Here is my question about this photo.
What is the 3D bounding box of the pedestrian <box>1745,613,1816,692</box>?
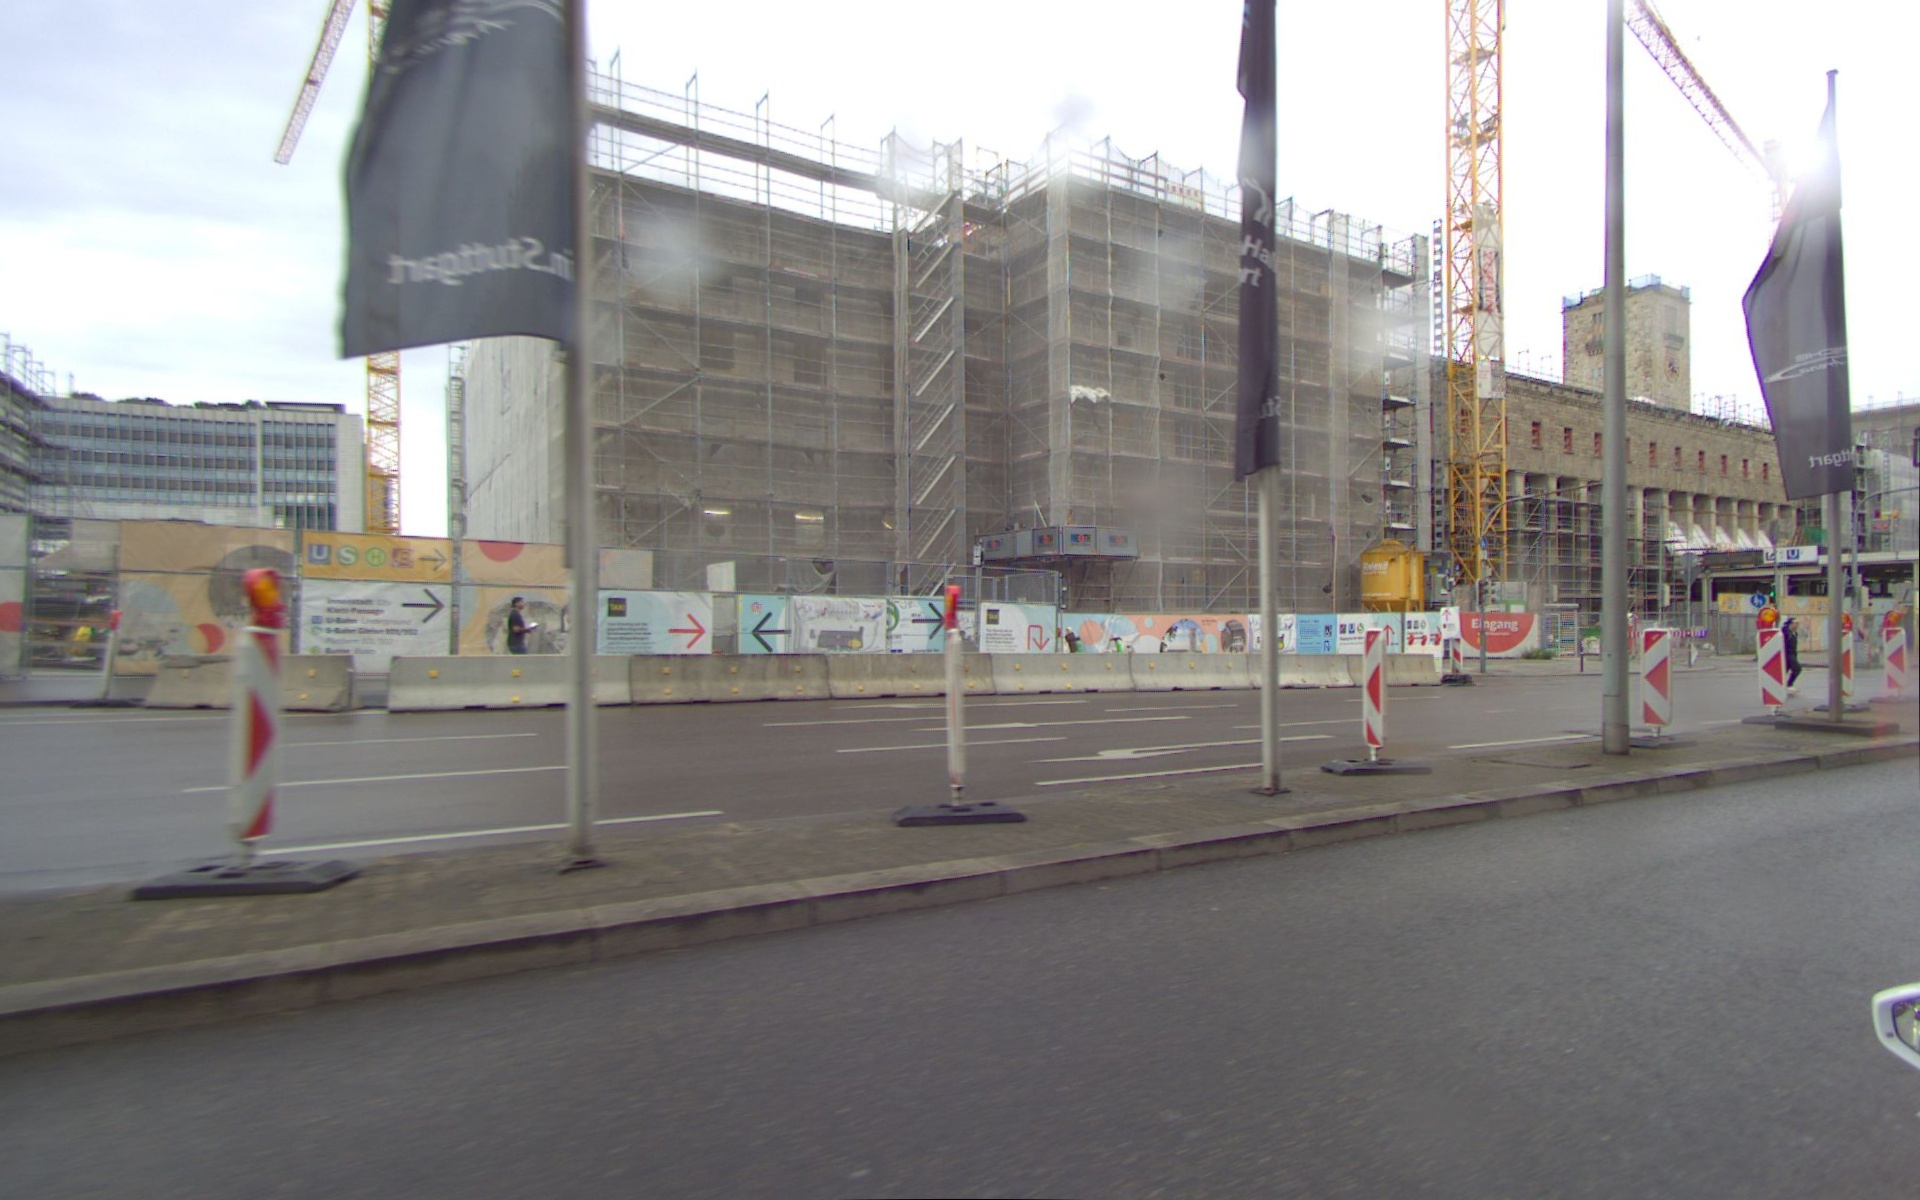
[{"bbox_3d":[18.953,1.200,23.219,0.646,1.774,1.090,1,-3,-32],"label":"pedestrian"}]

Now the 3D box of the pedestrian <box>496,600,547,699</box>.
[{"bbox_3d":[-8.483,0.939,19.438,0.810,1.860,0.576,1,0,-30],"label":"pedestrian"}]

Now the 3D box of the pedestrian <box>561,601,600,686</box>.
[{"bbox_3d":[-8.393,0.958,22.238,0.709,1.860,0.478,1,0,-30],"label":"pedestrian"}]

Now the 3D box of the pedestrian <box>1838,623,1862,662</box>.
[{"bbox_3d":[42.938,2.055,48.478,0.789,1.879,0.659,1,-1,-30],"label":"pedestrian"}]
